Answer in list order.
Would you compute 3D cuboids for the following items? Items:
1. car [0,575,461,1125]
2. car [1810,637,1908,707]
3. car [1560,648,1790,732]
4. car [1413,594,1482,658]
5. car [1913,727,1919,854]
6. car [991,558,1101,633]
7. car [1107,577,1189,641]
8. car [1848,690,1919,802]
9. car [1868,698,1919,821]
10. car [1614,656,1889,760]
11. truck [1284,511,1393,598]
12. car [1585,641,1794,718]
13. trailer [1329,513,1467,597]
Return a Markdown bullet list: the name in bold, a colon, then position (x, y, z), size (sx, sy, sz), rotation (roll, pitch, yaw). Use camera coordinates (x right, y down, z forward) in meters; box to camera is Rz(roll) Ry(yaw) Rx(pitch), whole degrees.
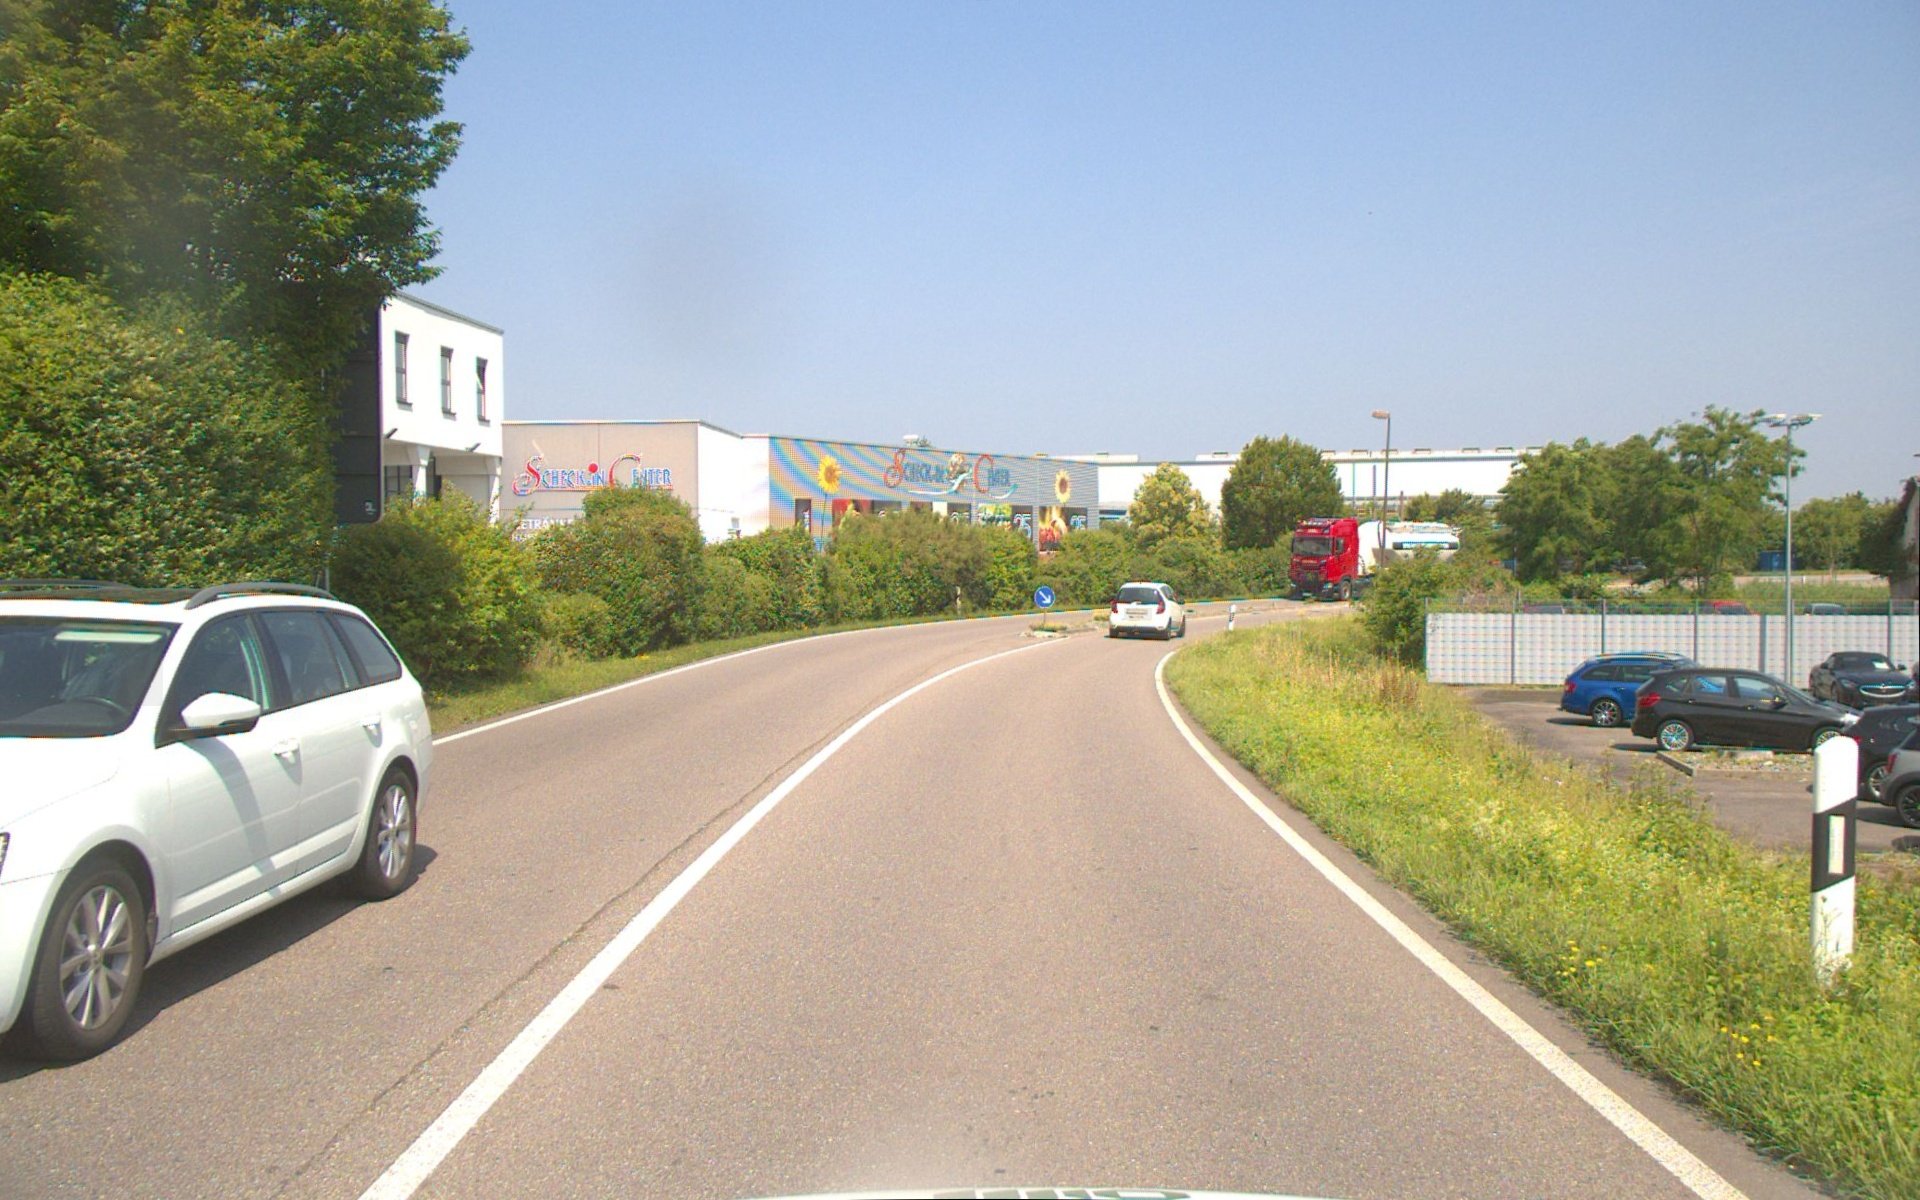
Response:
- **car**: position (-3.545, 0.666, 6.507), size (1.791, 1.496, 4.410), rotation (1, 1, 0)
- **car**: position (22.976, 1.789, 42.408), size (1.813, 1.561, 4.641), rotation (1, 0, 24)
- **car**: position (16.004, 1.971, 37.060), size (4.543, 1.524, 1.853), rotation (1, 2, 31)
- **car**: position (16.503, 0.844, 56.181), size (1.951, 2.049, 4.003), rotation (1, 0, 13)
- **car**: position (13.665, 2.340, 19.483), size (4.068, 1.467, 1.769), rotation (1, 3, 36)
- **car**: position (2.552, -0.124, 48.084), size (1.953, 2.049, 3.999), rotation (1, 0, 22)
- **car**: position (5.545, 0.251, 48.367), size (1.744, 1.630, 3.896), rotation (6, 1, 14)
- **car**: position (15.434, 2.227, 24.291), size (3.961, 1.467, 1.765), rotation (2, 3, 40)
- **car**: position (14.588, 2.234, 22.135), size (4.068, 1.519, 1.824), rotation (1, 1, 36)
- **car**: position (14.868, 1.988, 31.208), size (4.539, 1.633, 1.854), rotation (1, 1, 28)
- **truck**: position (18.911, -2.189, 82.450), size (2.834, 4.101, 6.694), rotation (1, 0, 36)
- **car**: position (17.650, 1.886, 40.150), size (4.297, 1.529, 1.831), rotation (2, 2, 43)
- **trailer**: position (22.947, -2.252, 86.426), size (8.626, 4.101, 2.843), rotation (1, 0, -43)
